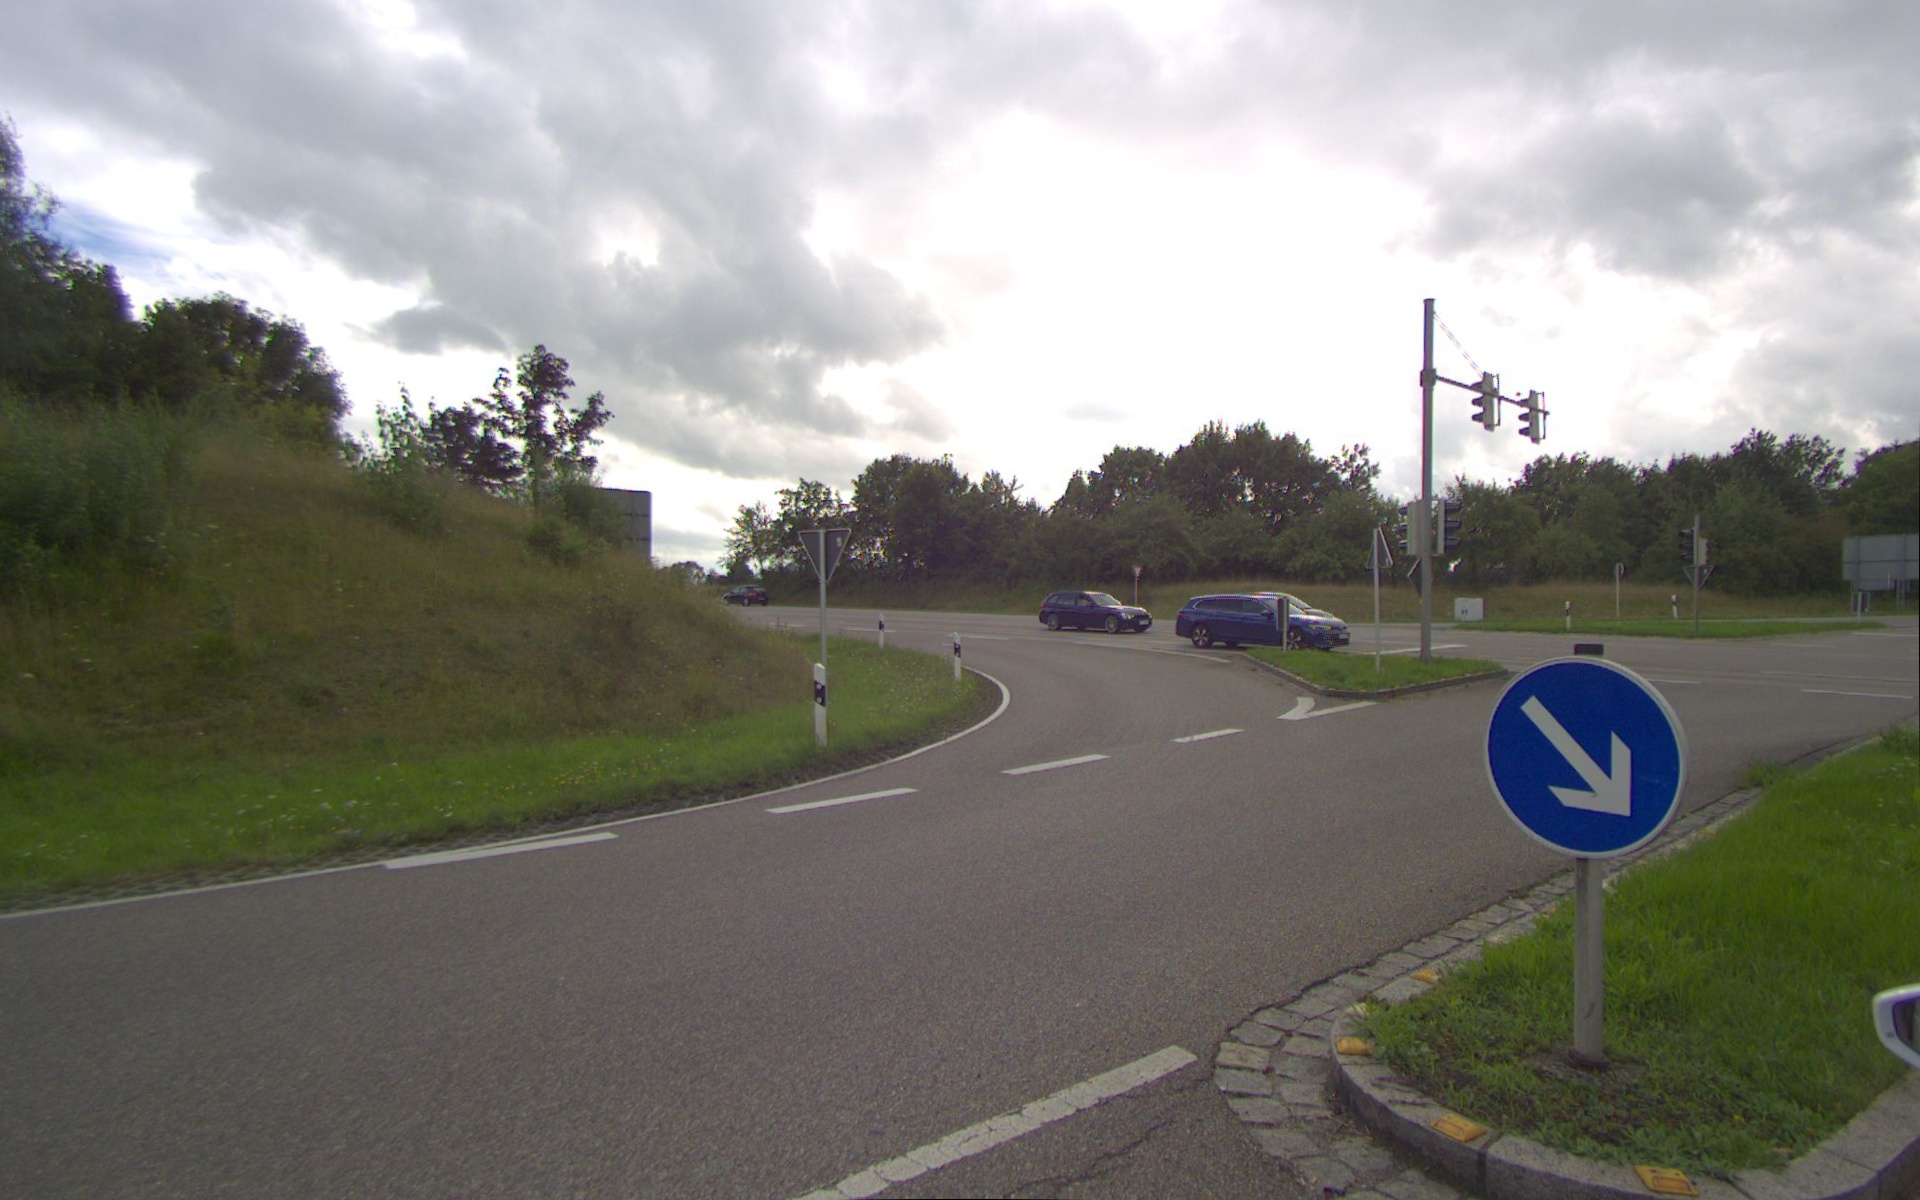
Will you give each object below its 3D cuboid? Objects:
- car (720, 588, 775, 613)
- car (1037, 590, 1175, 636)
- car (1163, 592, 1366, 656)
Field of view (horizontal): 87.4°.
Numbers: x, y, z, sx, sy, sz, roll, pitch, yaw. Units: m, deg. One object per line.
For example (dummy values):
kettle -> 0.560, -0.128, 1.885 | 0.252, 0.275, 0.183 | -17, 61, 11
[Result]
car -> -15.291, 0.023, 72.323 | 3.939, 1.712, 1.840 | 1, 0, 40
car -> 5.249, 0.412, 36.645 | 2.040, 1.504, 4.820 | -2, 2, -43
car -> 8.287, 0.579, 27.715 | 2.038, 1.555, 5.060 | -1, 1, -44
